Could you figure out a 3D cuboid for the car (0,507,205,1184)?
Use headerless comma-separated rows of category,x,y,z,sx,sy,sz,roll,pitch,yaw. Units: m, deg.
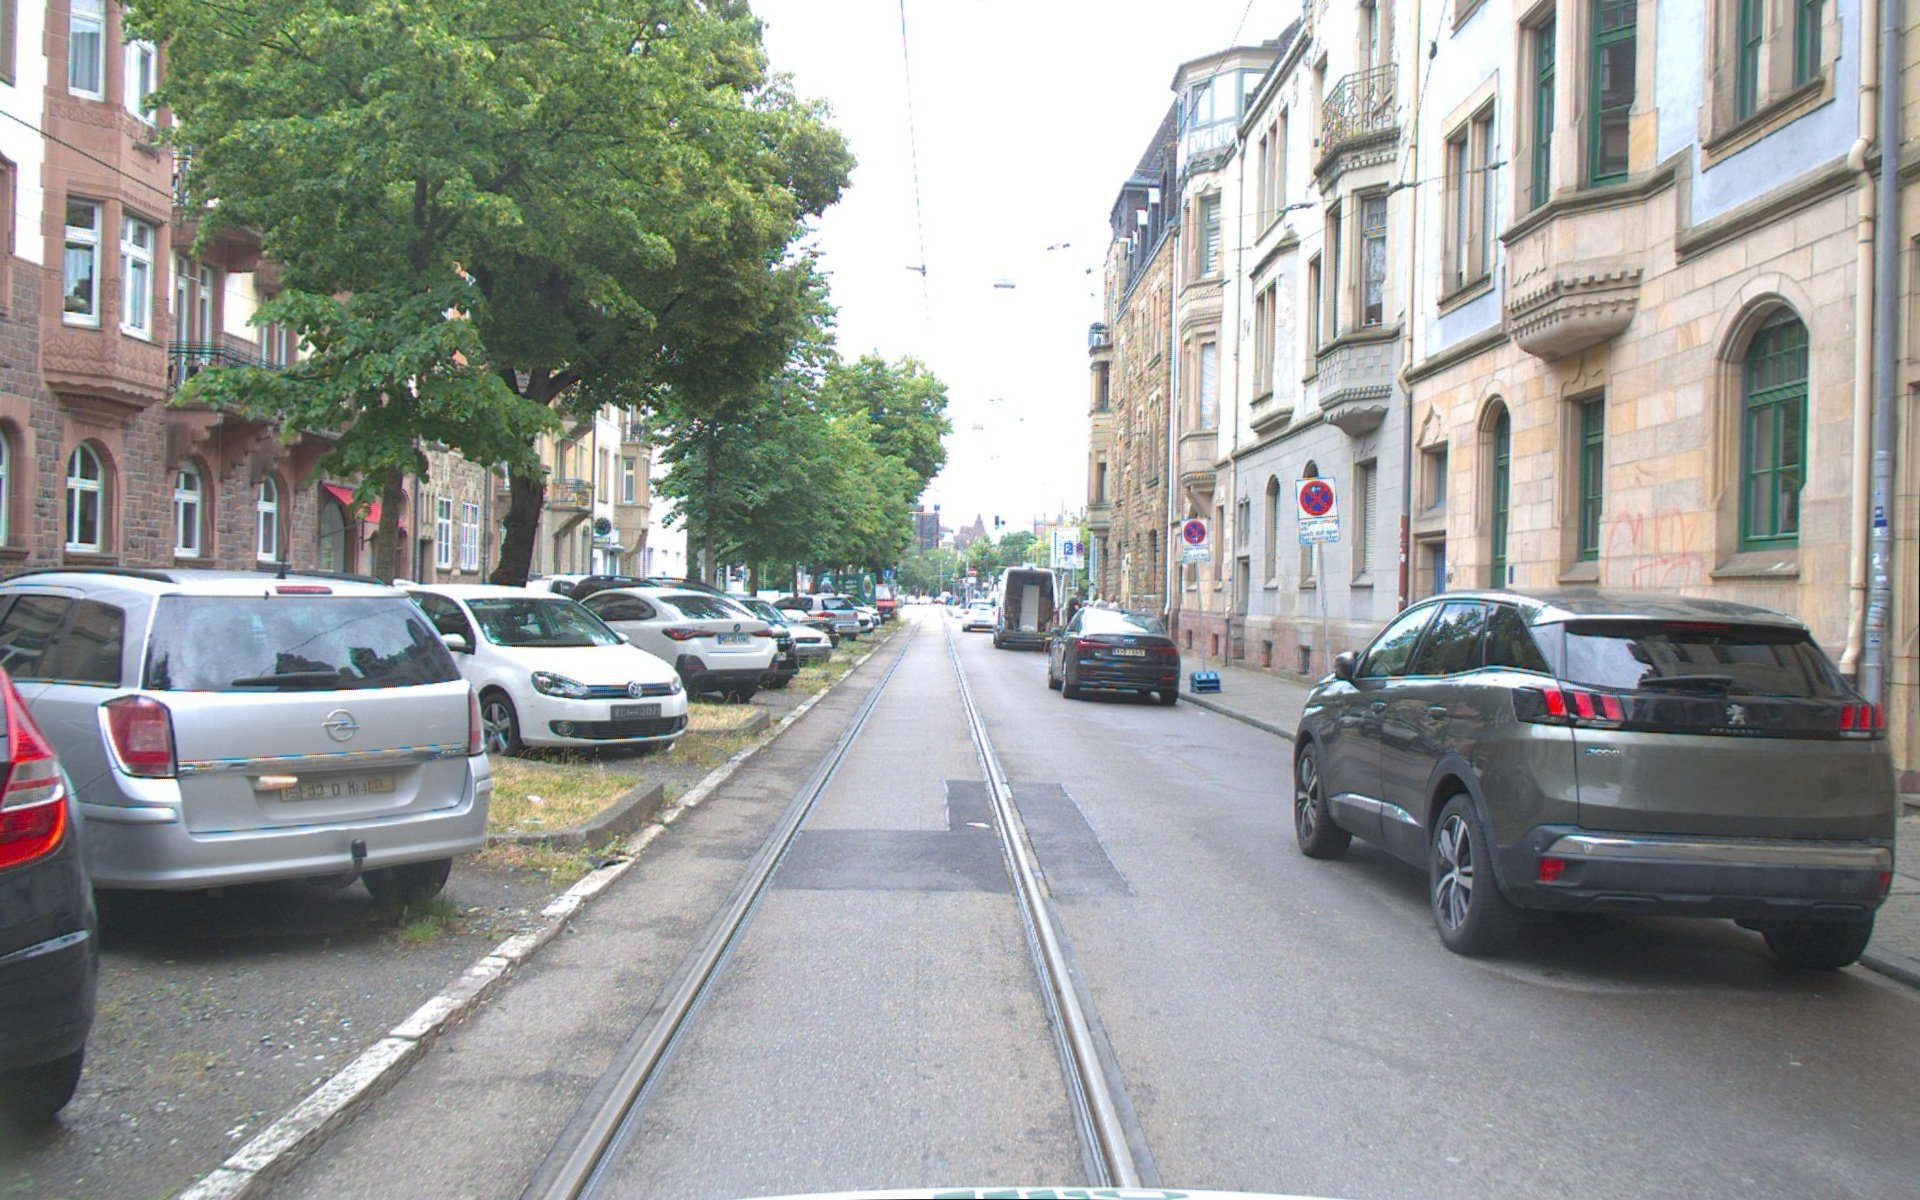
car,-3.844,0.498,4.739,3.933,1.511,1.763,2,0,45

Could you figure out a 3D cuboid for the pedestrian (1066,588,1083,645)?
pedestrian,3.735,0.532,53.902,0.488,1.847,0.803,-1,0,0

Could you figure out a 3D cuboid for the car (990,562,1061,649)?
car,2.114,0.166,55.060,1.972,2.593,7.016,3,0,0

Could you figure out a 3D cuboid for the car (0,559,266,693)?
car,-11.484,0.339,23.205,1.733,1.657,4.319,1,0,-2

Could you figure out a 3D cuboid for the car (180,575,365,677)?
car,-11.603,0.416,28.160,1.628,1.587,3.721,1,0,-2

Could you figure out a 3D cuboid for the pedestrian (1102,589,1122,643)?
pedestrian,4.966,0.524,54.021,0.498,1.747,0.580,-1,0,-11

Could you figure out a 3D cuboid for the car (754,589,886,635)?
car,-4.920,0.403,57.796,4.599,1.460,1.890,1,0,39

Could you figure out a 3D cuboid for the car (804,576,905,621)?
car,-5.044,-0.081,78.860,4.676,2.009,1.951,1,0,38

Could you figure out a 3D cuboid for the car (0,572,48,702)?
car,-11.680,0.394,17.498,1.768,1.463,4.229,1,0,-2

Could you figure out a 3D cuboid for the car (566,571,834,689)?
car,-4.108,0.413,25.686,4.455,1.662,1.754,1,0,43

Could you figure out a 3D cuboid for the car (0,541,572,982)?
car,-3.889,0.531,7.961,1.850,1.519,4.490,2,0,-45

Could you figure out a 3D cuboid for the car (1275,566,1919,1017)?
car,3.039,0.706,8.508,1.724,1.650,4.692,2,0,-2

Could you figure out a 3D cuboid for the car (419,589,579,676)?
car,-8.534,0.575,31.035,1.768,1.478,4.651,1,0,-2

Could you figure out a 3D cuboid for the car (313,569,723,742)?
car,-4.212,0.443,15.415,4.060,1.335,1.851,2,0,44

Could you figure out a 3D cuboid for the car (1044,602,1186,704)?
car,2.498,0.815,27.850,1.764,1.463,5.194,2,0,-1

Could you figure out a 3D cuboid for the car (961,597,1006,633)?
car,1.081,0.654,74.897,1.745,1.498,4.012,2,0,4

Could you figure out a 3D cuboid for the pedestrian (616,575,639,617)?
pedestrian,-14.368,-0.185,71.448,0.781,1.797,0.900,1,0,-2

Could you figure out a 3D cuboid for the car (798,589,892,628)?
car,-4.762,0.345,68.114,3.794,1.488,1.680,1,0,42

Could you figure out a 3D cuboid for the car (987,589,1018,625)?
car,2.473,0.410,97.061,1.746,1.997,4.382,2,0,1

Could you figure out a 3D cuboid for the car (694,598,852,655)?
car,-4.526,0.616,39.777,3.894,1.223,1.657,2,0,43

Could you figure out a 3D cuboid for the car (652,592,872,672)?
car,-3.973,0.596,32.664,4.585,1.392,1.747,2,0,42

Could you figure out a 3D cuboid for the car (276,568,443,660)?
car,-11.792,0.275,32.803,1.705,1.655,4.552,1,0,-2

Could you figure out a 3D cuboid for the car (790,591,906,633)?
car,-4.228,0.428,61.912,4.262,1.460,1.888,1,0,42

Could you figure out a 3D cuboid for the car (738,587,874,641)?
car,-4.685,0.416,50.134,4.042,1.510,1.787,2,0,40

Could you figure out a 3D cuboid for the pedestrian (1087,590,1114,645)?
pedestrian,4.509,0.561,53.173,0.695,1.729,0.488,-1,0,-29

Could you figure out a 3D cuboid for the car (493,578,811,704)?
car,-4.270,0.506,22.522,4.463,1.516,2.022,1,0,43

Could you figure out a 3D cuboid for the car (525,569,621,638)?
car,-11.919,0.109,51.211,1.843,1.986,5.092,1,0,-2

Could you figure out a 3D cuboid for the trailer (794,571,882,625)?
trailer,-5.599,-0.118,75.947,3.593,2.385,1.926,1,0,32
